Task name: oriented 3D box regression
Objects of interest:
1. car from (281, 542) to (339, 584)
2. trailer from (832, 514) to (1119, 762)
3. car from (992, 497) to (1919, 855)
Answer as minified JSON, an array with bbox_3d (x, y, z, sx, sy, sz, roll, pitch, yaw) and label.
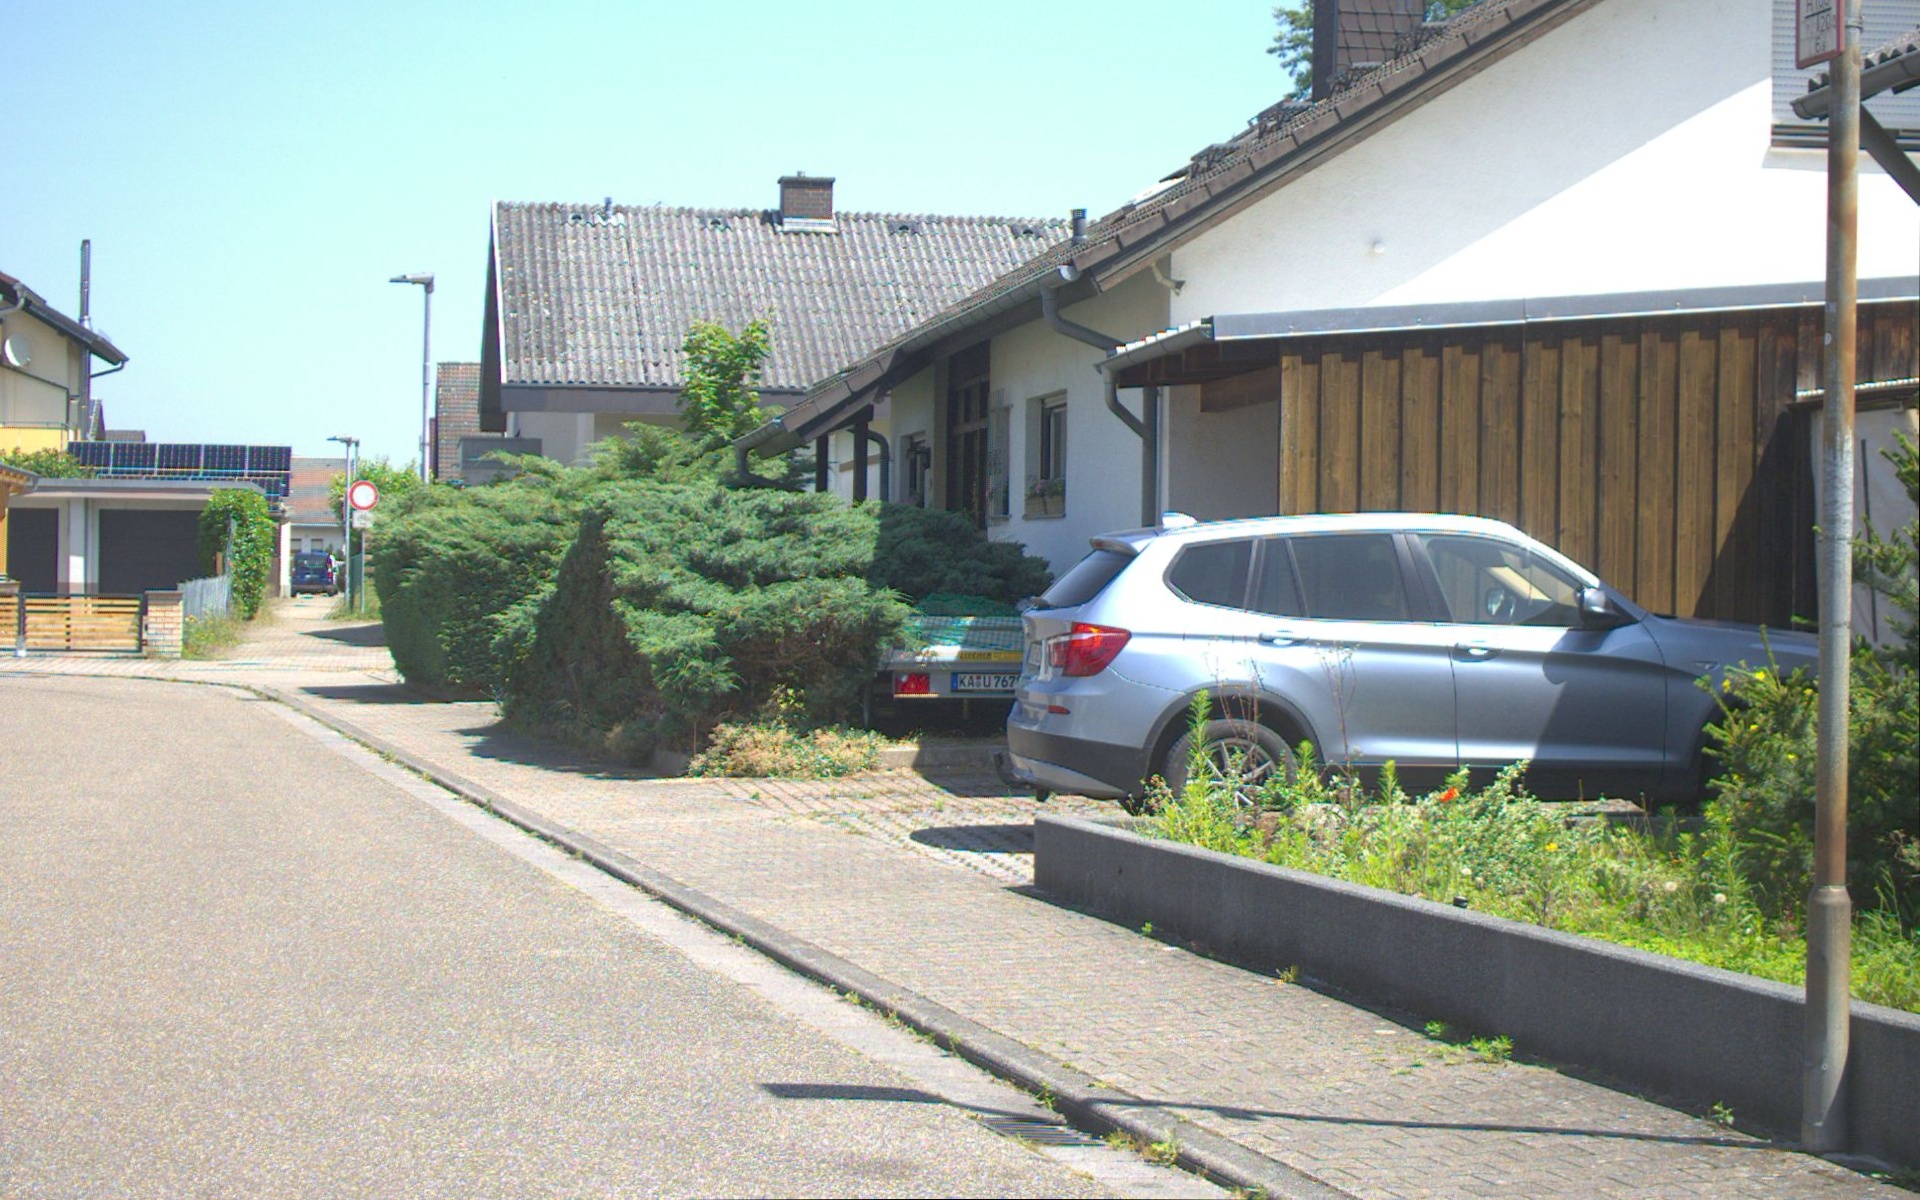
[{"bbox_3d":[-26.547,-1.521,140.519,2.193,1.696,3.808,0,1,-9],"label":"car"},{"bbox_3d":[0.049,0.214,25.127,1.586,1.666,3.297,-1,2,-9],"label":"trailer"},{"bbox_3d":[2.576,0.349,17.830,4.626,1.696,1.710,-1,1,-6],"label":"car"}]
